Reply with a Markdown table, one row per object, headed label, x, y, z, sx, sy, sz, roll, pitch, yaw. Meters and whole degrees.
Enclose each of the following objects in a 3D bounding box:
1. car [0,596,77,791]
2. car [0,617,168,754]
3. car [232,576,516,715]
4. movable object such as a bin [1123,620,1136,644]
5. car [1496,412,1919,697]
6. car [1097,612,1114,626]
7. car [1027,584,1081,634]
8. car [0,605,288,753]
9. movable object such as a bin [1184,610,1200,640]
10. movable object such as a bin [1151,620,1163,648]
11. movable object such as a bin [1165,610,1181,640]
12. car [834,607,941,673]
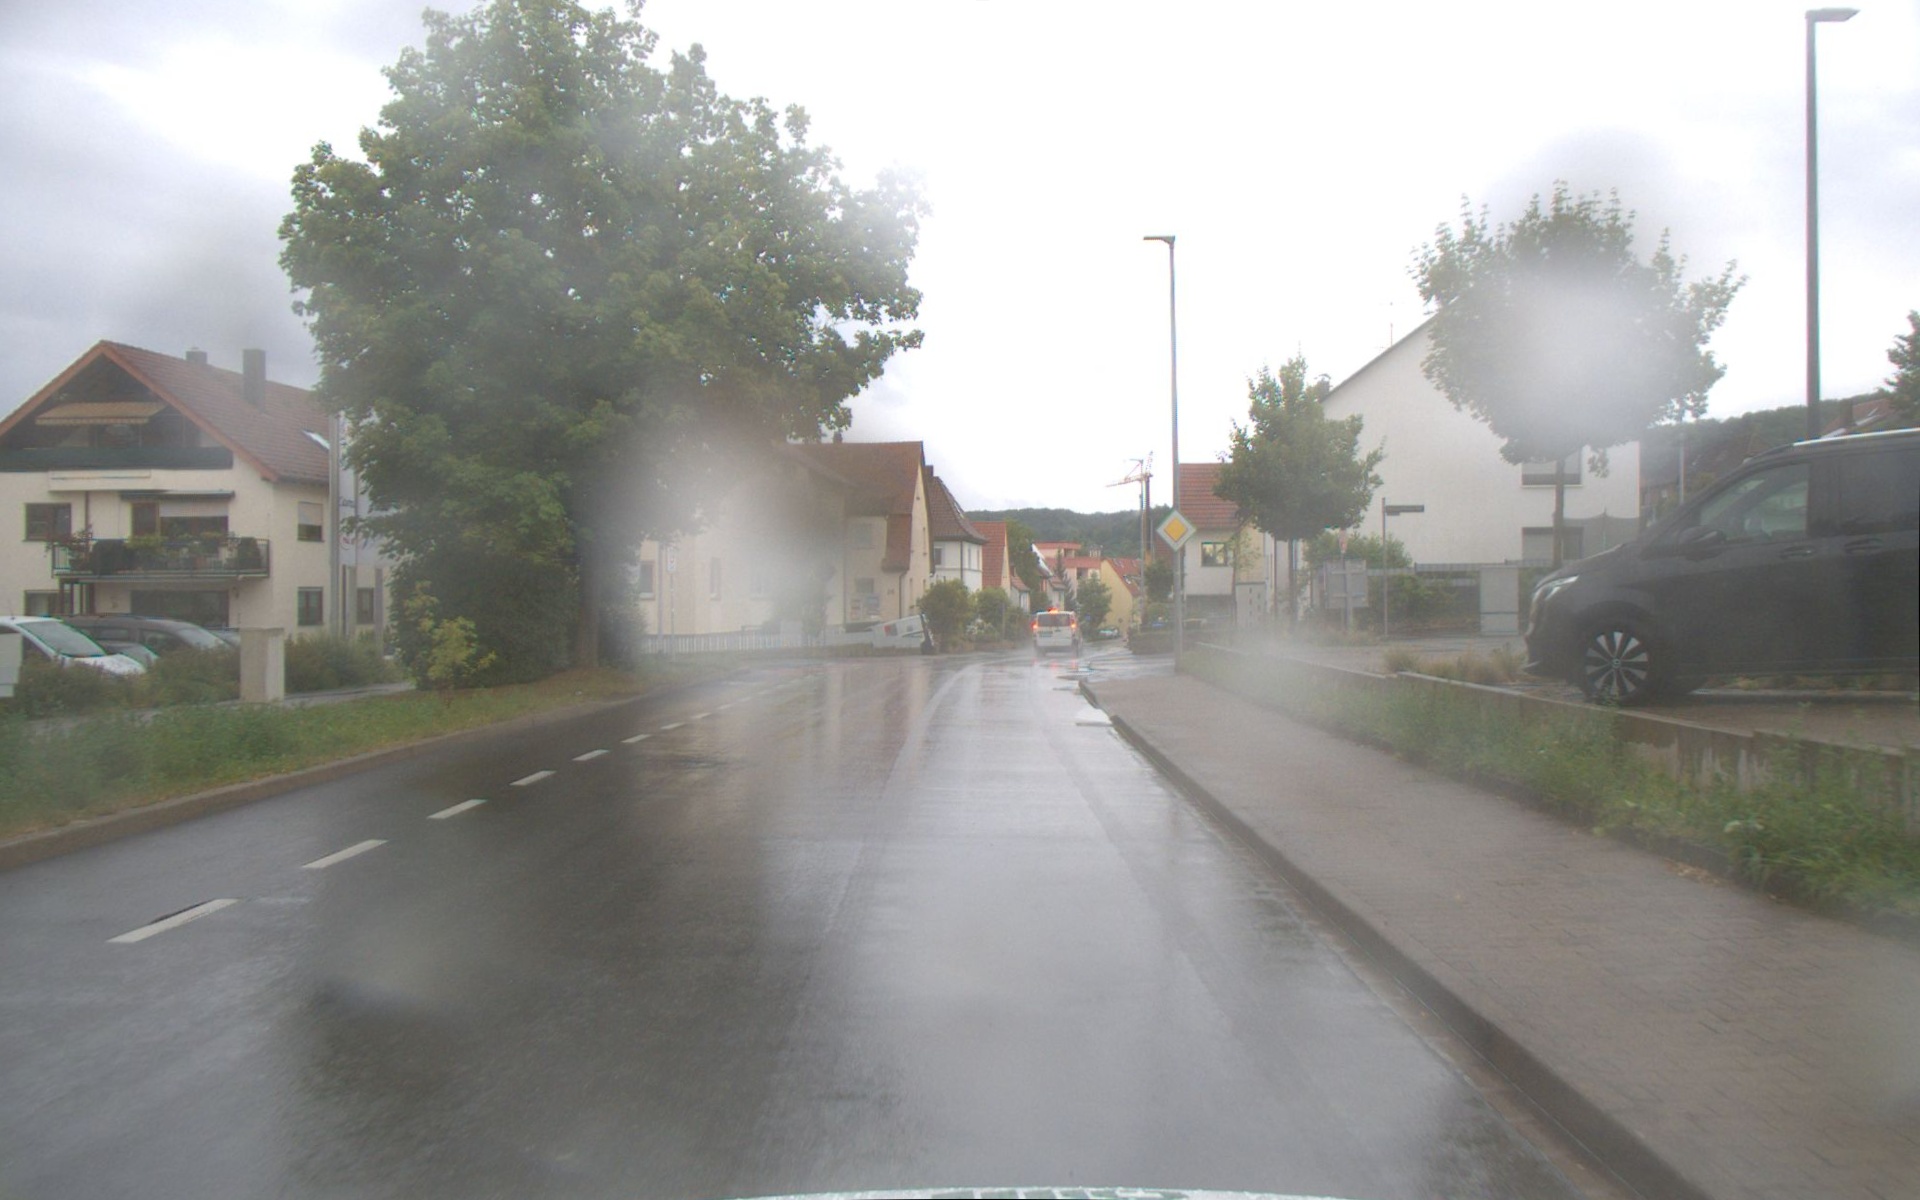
| label | x | y | z | sx | sy | sz | roll | pitch | yaw |
| --- | --- | --- | --- | --- | --- | --- | --- | --- | --- |
| car | -8.344 | 0.680 | 11.223 | 3.820 | 1.306 | 1.582 | -2 | 0 | 0 |
| car | -15.690 | 1.347 | 27.155 | 4.308 | 2.048 | 2.153 | 1 | 1 | -3 |
| car | -6.789 | 0.535 | 19.304 | 2.849 | 1.480 | 1.253 | -2 | -2 | 0 |
| movable object such as a bin | 9.780 | 1.843 | 95.430 | 0.729 | 1.301 | 0.883 | -1 | 1 | 7 |
| car | 6.887 | -0.313 | 12.432 | 5.014 | 1.953 | 2.045 | -2 | -1 | 37 |
| car | 19.343 | 2.531 | 219.559 | 1.802 | 1.606 | 4.294 | 1 | 2 | 12 |
| car | 3.996 | 0.348 | 69.736 | 2.072 | 1.921 | 4.505 | 1 | 2 | 5 |
| car | -7.633 | 0.677 | 14.493 | 2.849 | 1.179 | 1.471 | -2 | 0 | 0 |
| movable object such as a bin | 8.351 | 0.902 | 59.590 | 0.517 | 1.046 | 0.632 | 1 | 1 | 5 |
| movable object such as a bin | 7.102 | 1.223 | 59.675 | 0.416 | 0.957 | 0.508 | 1 | 1 | 5 |
| movable object such as a bin | 7.689 | 0.898 | 59.619 | 0.533 | 1.046 | 0.632 | 1 | 1 | 5 |
| car | -3.388 | 1.861 | 77.688 | 4.466 | 2.044 | 2.162 | -12 | 0 | 6 |
